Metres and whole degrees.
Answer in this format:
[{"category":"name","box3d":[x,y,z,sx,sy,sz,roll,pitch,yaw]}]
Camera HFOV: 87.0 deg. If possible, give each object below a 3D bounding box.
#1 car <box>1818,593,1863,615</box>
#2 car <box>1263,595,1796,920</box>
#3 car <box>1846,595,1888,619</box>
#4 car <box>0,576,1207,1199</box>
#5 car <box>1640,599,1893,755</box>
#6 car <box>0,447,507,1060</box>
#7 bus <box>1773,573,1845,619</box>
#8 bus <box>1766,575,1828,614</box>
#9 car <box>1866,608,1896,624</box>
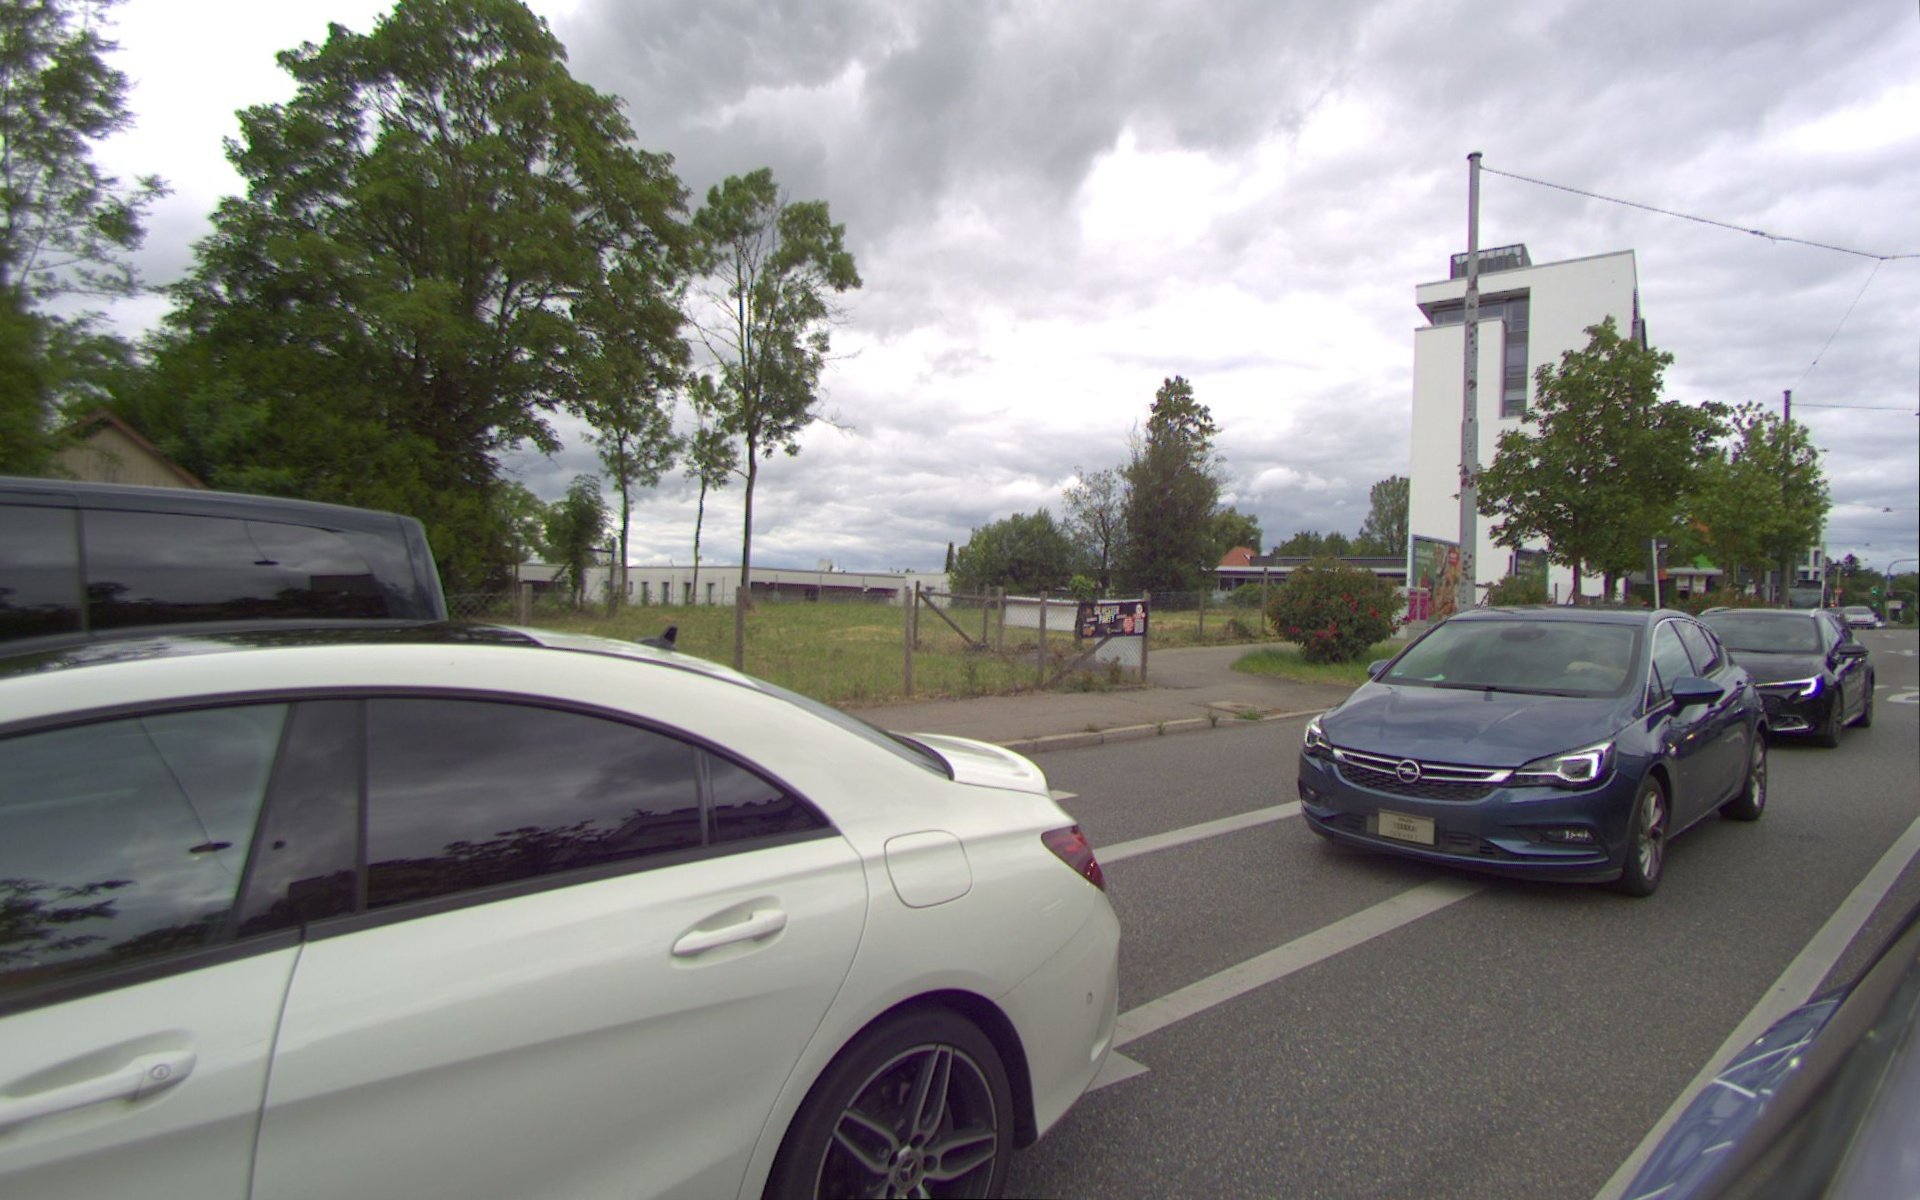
[{"category":"car","box3d":[79.544,0.372,91.416,4.054,1.910,1.854,0,-1,-31]},{"category":"car","box3d":[3.810,0.690,6.477,3.931,1.428,1.825,0,0,-42]},{"category":"car","box3d":[63.665,0.504,71.093,1.842,1.637,3.732,-1,-1,37]},{"category":"car","box3d":[-1.537,0.694,1.811,4.300,1.451,1.652,0,1,-41]},{"category":"car","box3d":[9.350,0.737,11.628,3.854,1.475,1.663,0,0,-42]},{"category":"car","box3d":[-4.184,0.473,3.273,4.627,1.863,1.952,0,-1,-41]},{"category":"bus","box3d":[53.958,-0.309,64.566,2.952,2.664,11.986,0,1,37]},{"category":"bus","box3d":[61.426,-0.443,74.466,2.952,2.664,12.751,0,1,37]},{"category":"car","box3d":[103.820,1.774,114.087,3.930,1.705,1.997,-1,0,-41]}]
